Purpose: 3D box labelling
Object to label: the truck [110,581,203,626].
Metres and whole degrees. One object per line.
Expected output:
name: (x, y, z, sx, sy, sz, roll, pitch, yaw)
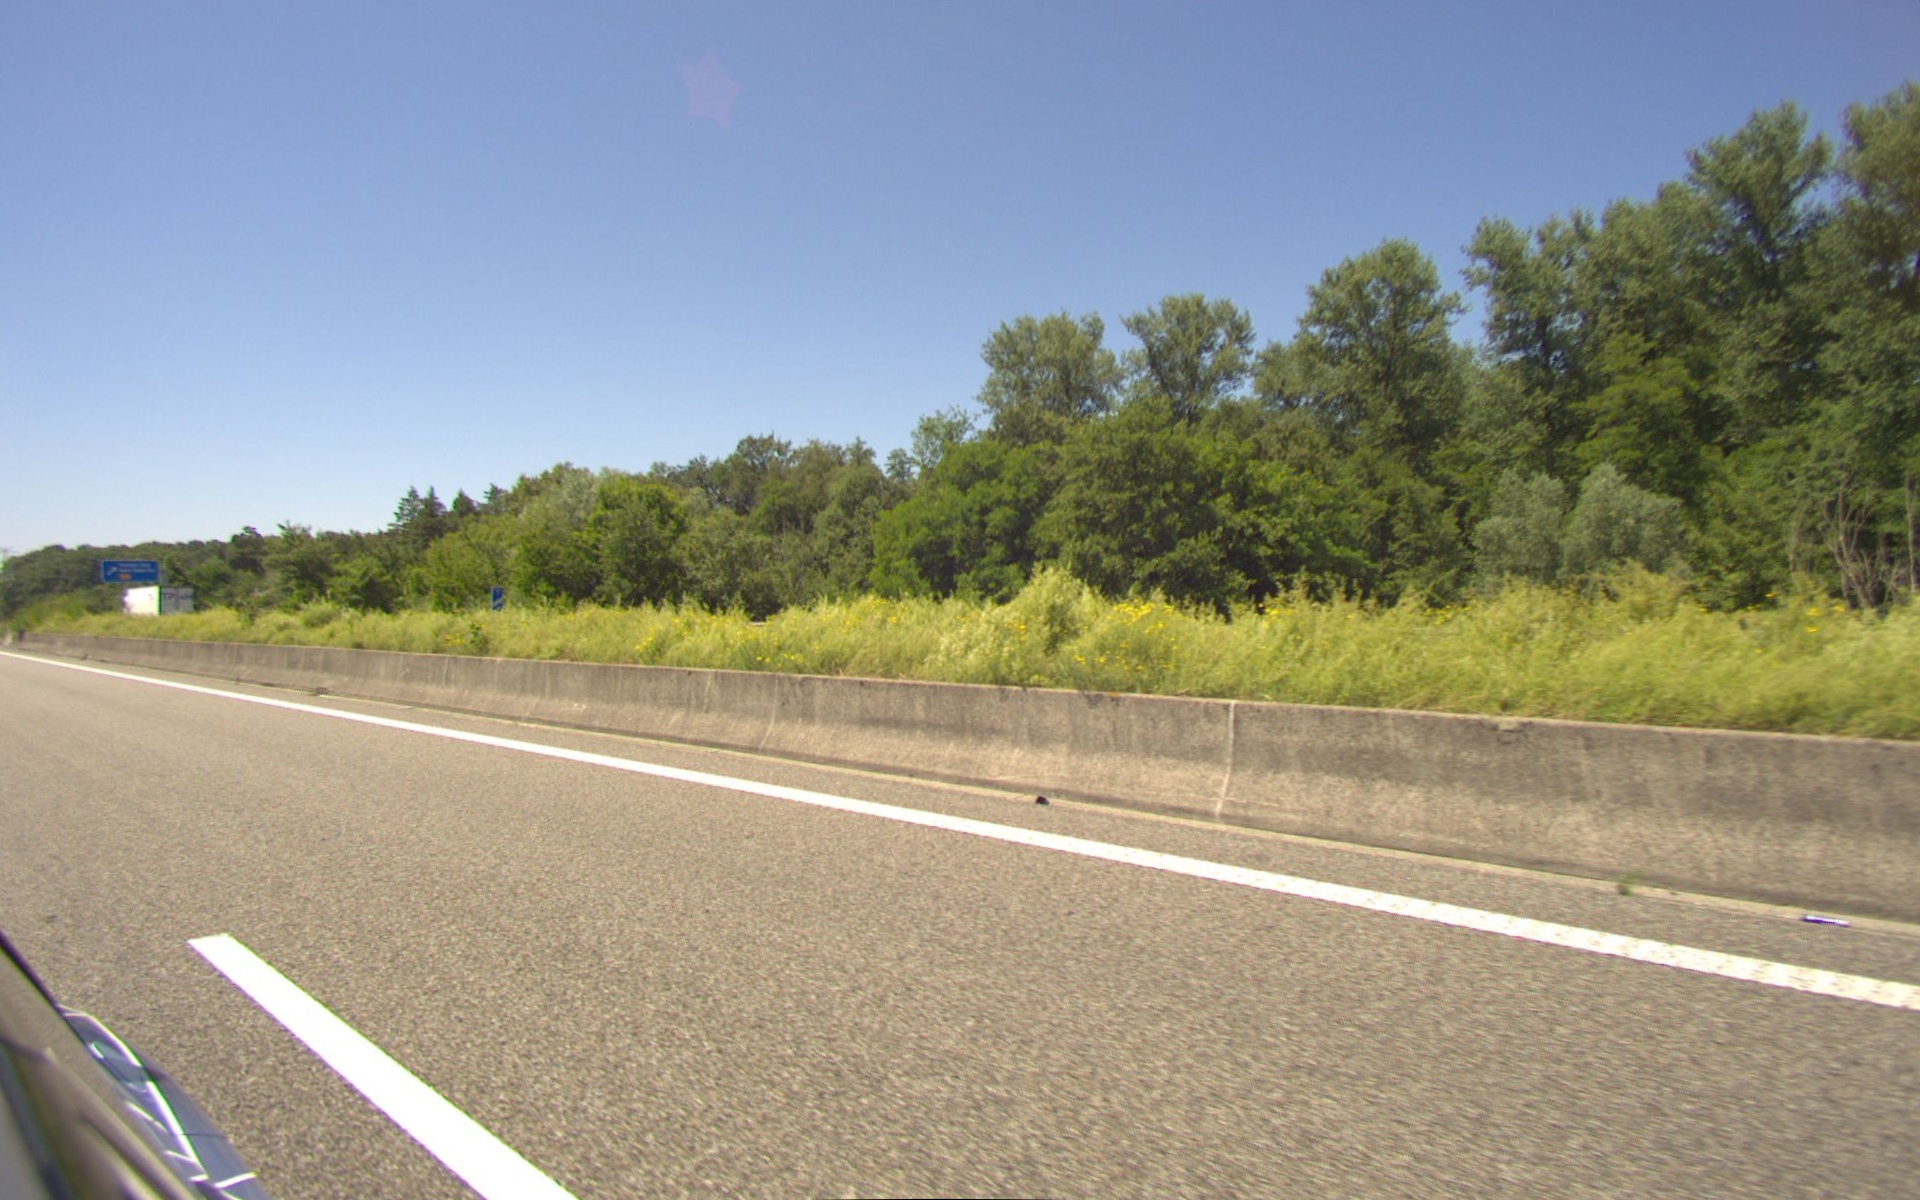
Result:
truck: (-74.686, 0.414, 93.819, 17.474, 3.763, 3.561, -2, -1, 41)
